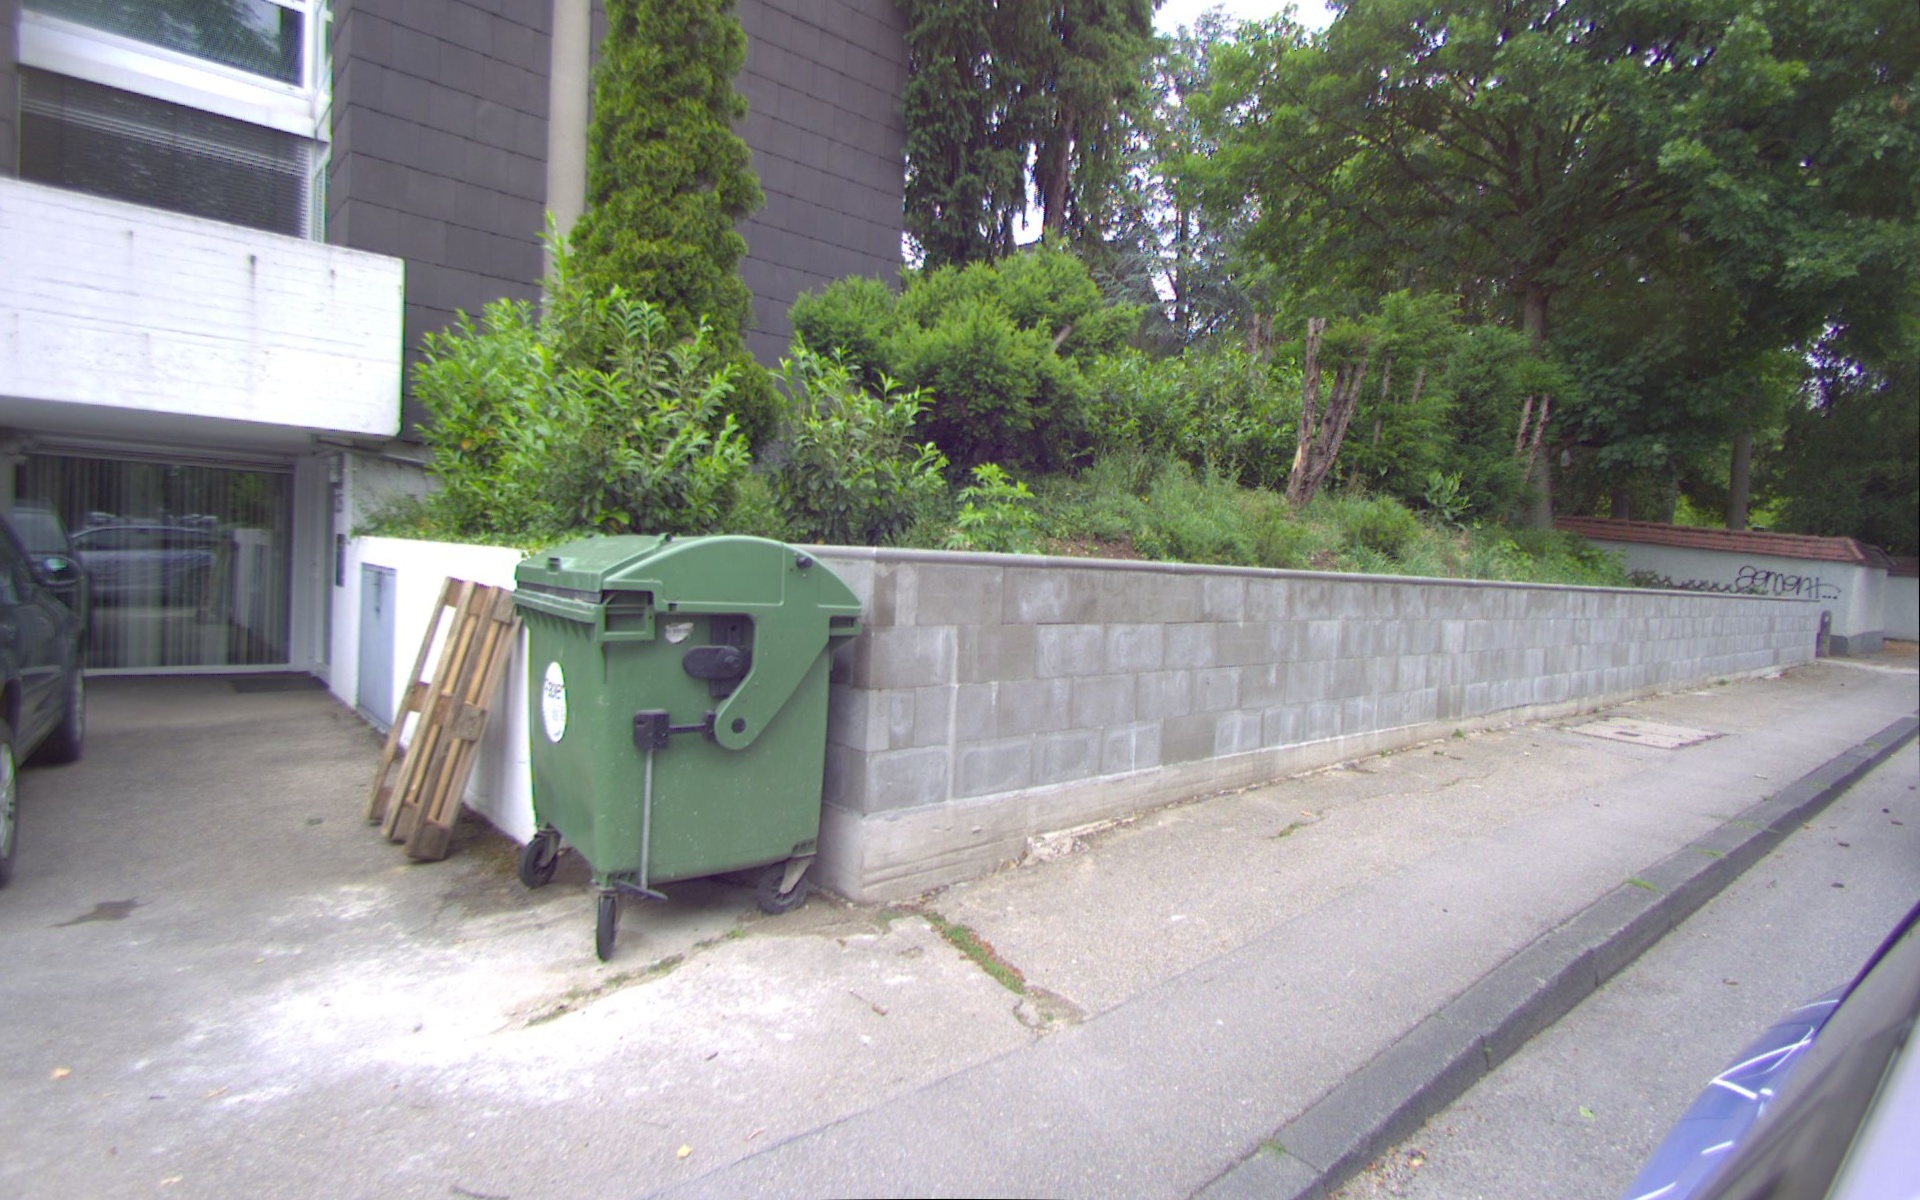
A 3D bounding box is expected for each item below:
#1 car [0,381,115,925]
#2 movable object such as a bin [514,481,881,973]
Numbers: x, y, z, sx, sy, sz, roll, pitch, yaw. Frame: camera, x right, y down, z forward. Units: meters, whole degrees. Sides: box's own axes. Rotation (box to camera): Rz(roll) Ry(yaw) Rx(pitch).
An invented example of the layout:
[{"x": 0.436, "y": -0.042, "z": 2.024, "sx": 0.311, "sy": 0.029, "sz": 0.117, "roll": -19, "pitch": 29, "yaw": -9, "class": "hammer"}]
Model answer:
[{"x": -4.992, "y": 0.080, "z": 4.369, "sx": 1.798, "sy": 1.771, "sz": 3.987, "roll": 0, "pitch": 3, "yaw": -36, "class": "car"}, {"x": -1.032, "y": 0.376, "z": 3.900, "sx": 1.014, "sy": 1.549, "sz": 1.037, "roll": 0, "pitch": 2, "yaw": -39, "class": "movable object such as a bin"}]
